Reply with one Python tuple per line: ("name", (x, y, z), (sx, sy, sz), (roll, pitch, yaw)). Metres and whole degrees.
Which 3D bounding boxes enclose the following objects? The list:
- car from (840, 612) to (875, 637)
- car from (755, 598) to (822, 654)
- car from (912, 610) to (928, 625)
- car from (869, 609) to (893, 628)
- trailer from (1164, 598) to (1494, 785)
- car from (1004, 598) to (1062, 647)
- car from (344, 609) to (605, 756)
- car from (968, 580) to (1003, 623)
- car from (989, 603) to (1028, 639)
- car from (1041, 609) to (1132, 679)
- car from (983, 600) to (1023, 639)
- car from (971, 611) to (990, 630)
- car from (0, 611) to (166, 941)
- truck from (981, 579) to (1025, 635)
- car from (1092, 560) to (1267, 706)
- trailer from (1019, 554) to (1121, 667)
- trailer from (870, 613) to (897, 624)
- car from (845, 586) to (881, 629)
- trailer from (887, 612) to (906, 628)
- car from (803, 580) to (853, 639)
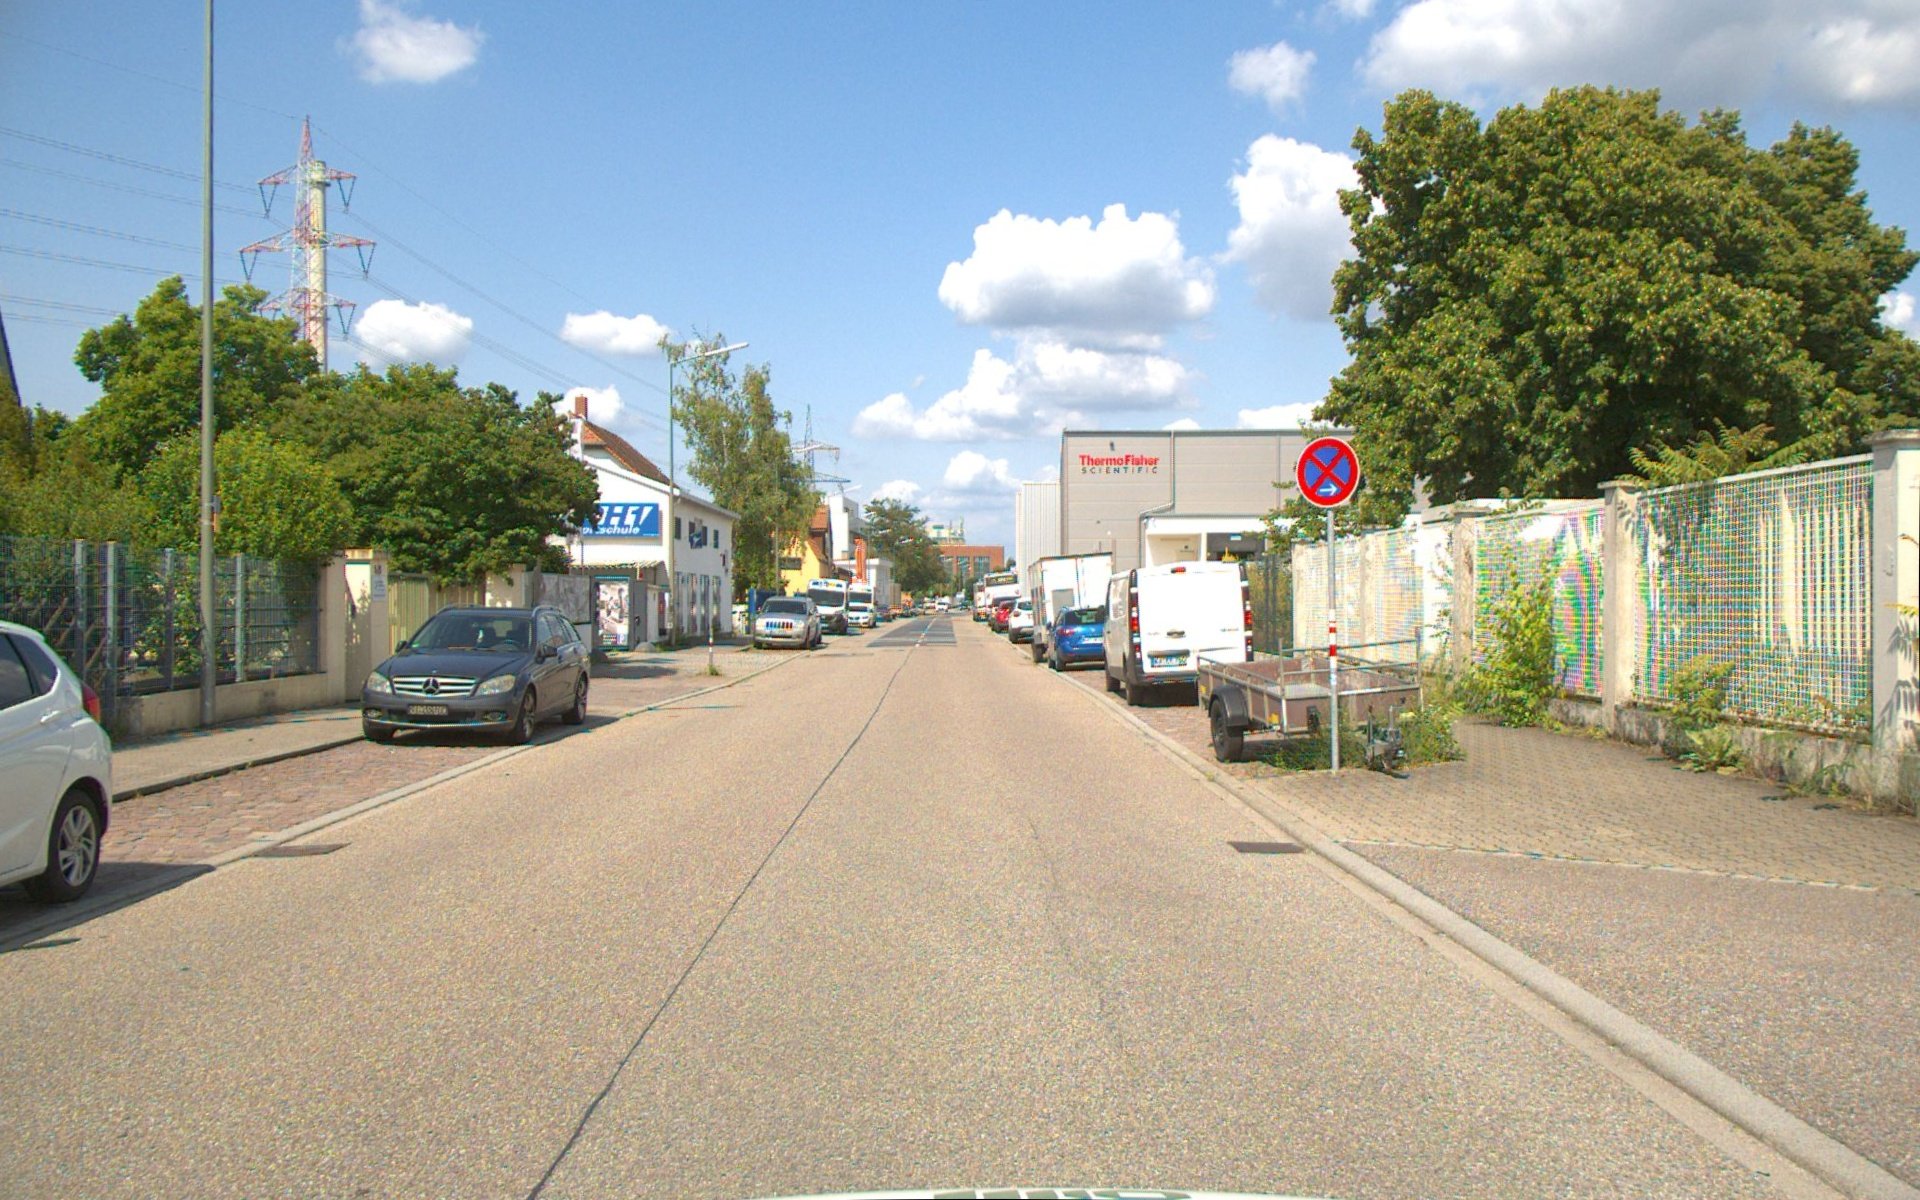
("car", (-6.097, 1.444, 98.803), (1.759, 1.422, 4.501), (1, -1, 1))
("car", (-5.797, 0.879, 56.304), (1.754, 1.749, 4.750), (2, -1, 0))
("car", (-5.246, 2.308, 216.487), (1.882, 1.825, 4.001), (1, -1, 2))
("car", (-6.588, 1.531, 137.540), (1.726, 1.473, 4.740), (2, -1, 0))
("trailer", (3.334, 0.797, 15.918), (1.715, 1.442, 4.544), (-3, -1, -6))
("car", (2.771, 0.856, 63.751), (1.896, 1.723, 4.679), (-3, 0, -1))
("car", (-5.456, 0.864, 19.211), (1.769, 1.443, 4.495), (2, -1, -2))
("car", (2.126, 0.137, 138.914), (2.341, 3.421, 6.640), (-2, -1, -3))
("car", (2.425, 1.050, 83.072), (1.669, 1.652, 4.091), (-3, -1, -1))
("car", (2.910, 1.011, 38.650), (1.656, 1.486, 4.069), (-3, -1, -2))
("car", (2.337, 1.077, 90.354), (2.012, 1.936, 5.147), (-4, -1, 1))
("car", (1.871, 1.881, 151.468), (1.732, 1.640, 3.873), (0, -1, 1))
("car", (-5.291, 0.826, 7.472), (1.588, 1.549, 4.172), (0, 0, -3))
("truck", (2.756, 0.491, 107.877), (2.409, 3.350, 6.817), (-5, -1, 0))
("car", (3.344, 0.499, 26.315), (1.953, 2.049, 5.648), (-1, -1, -1))
("trailer", (2.922, 0.317, 45.366), (2.160, 2.785, 6.220), (-3, -1, -1))
("trailer", (-7.241, 1.745, 156.418), (2.314, 0.908, 5.568), (2, -1, 0))
("car", (-6.203, 0.537, 106.131), (1.986, 2.606, 6.837), (1, -1, -1))
("trailer", (-6.799, 2.142, 177.438), (1.953, 1.584, 4.252), (0, -1, 0))
("car", (-6.253, 0.484, 79.068), (1.989, 2.602, 6.653), (2, -1, -2))
